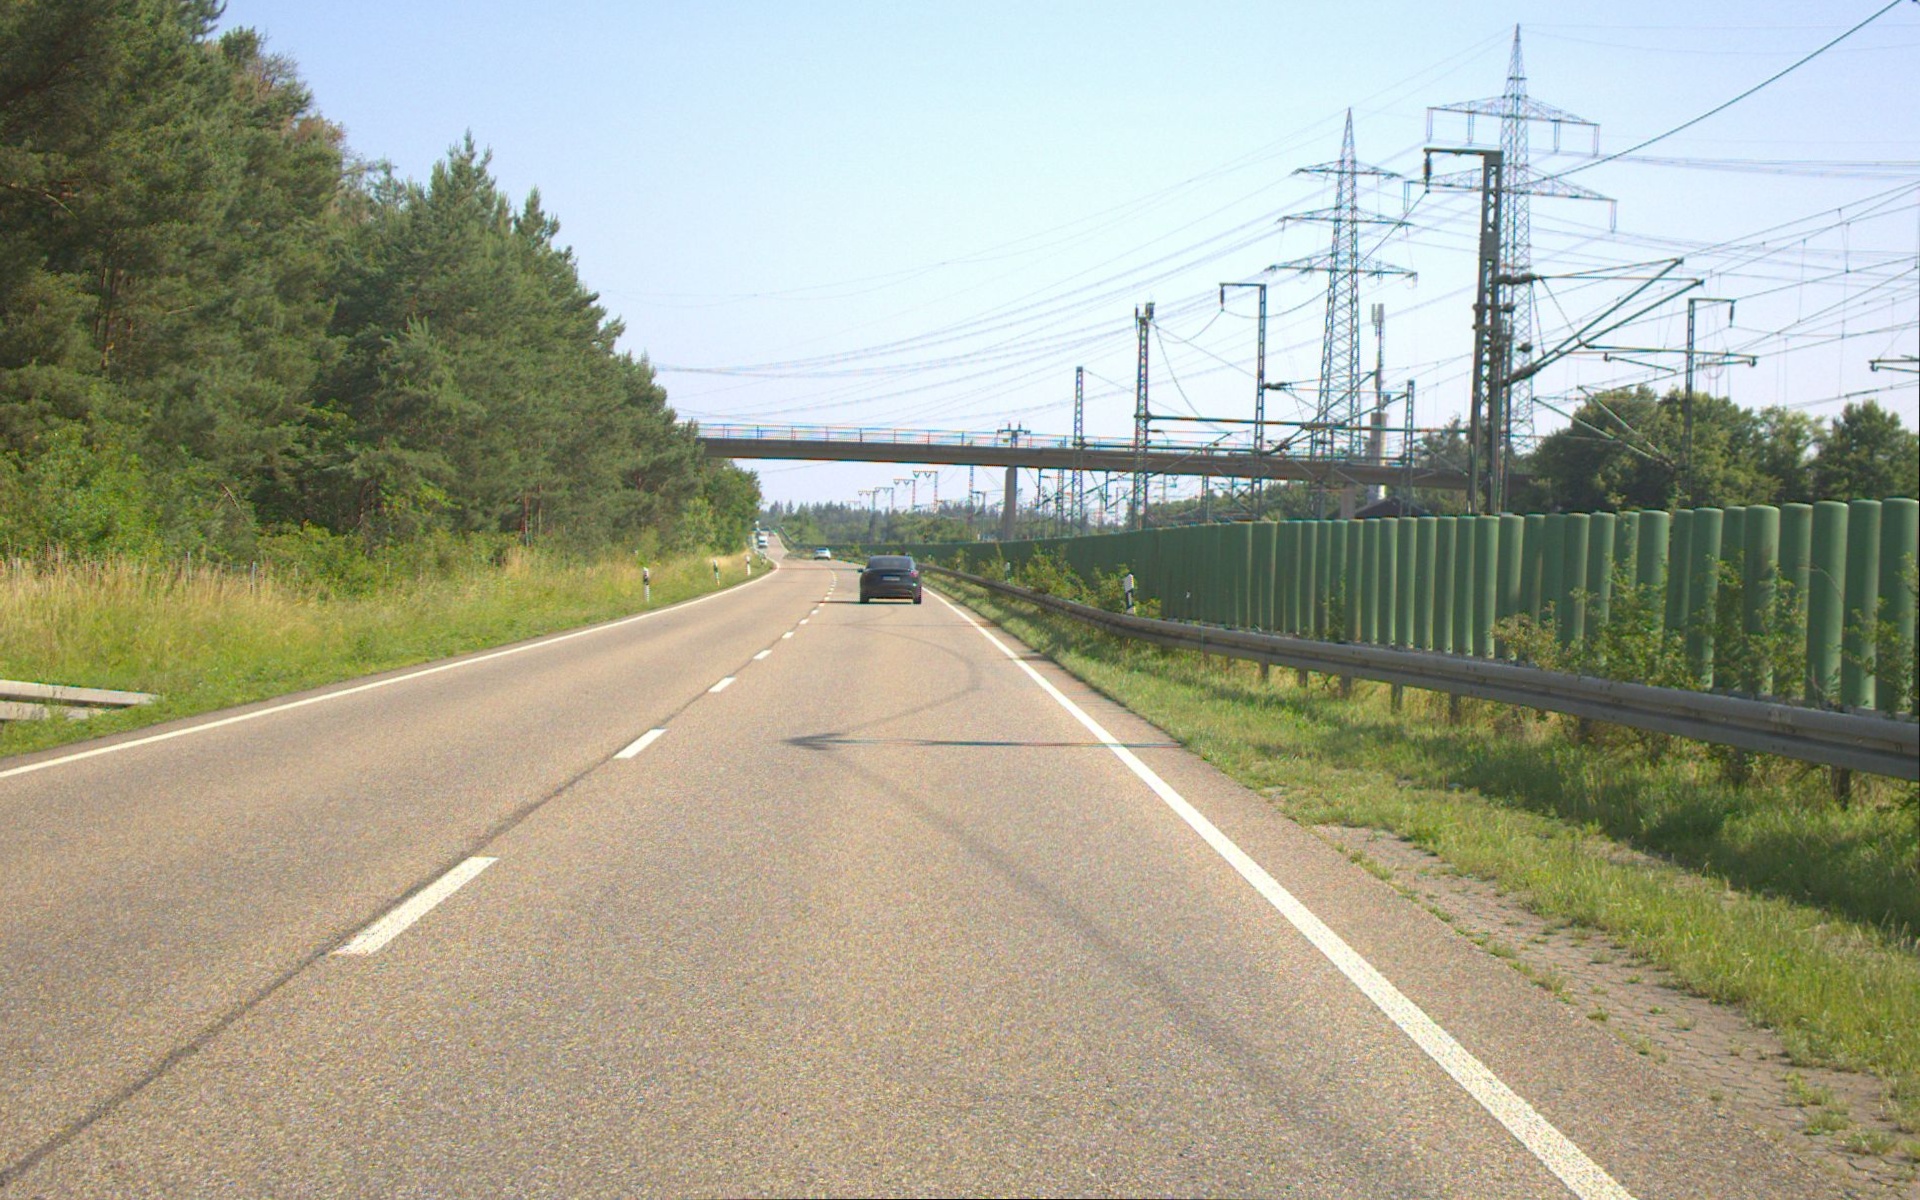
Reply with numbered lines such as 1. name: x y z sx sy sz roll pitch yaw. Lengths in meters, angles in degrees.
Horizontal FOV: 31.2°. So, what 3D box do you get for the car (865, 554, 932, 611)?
1. car: -1.873 -0.544 103.381 1.858 1.636 4.001 0 1 -3
